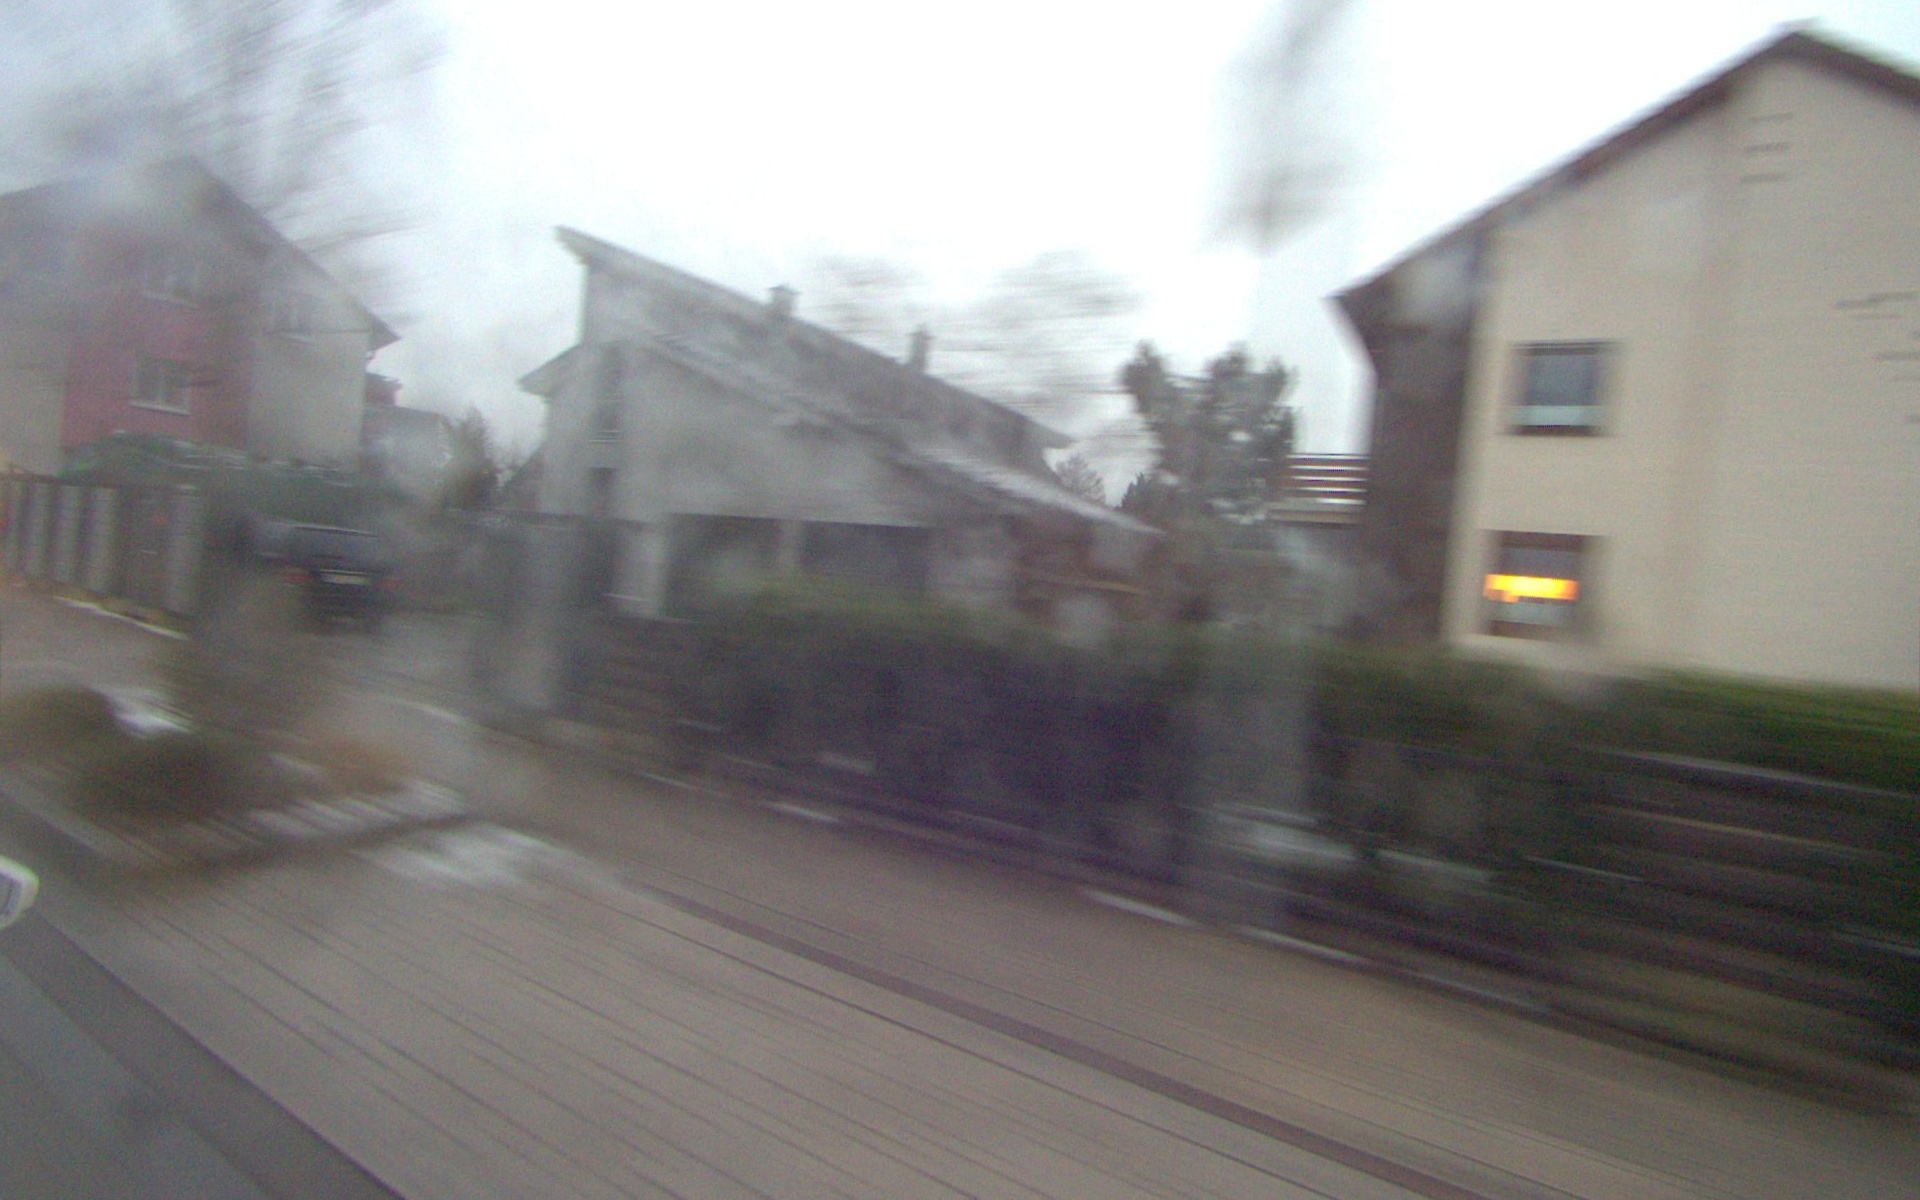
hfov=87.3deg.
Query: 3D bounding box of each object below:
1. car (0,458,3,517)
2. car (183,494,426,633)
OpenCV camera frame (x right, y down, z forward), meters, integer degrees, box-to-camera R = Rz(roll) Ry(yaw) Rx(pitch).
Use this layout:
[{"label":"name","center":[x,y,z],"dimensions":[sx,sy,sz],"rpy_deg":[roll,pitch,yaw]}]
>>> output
[{"label":"car","center":[-12.138,-0.805,10.906],"dimensions":[4.268,1.809,1.744],"rpy_deg":[7,2,36]},{"label":"car","center":[-9.904,-0.594,15.067],"dimensions":[4.276,1.603,1.965],"rpy_deg":[7,1,42]}]
